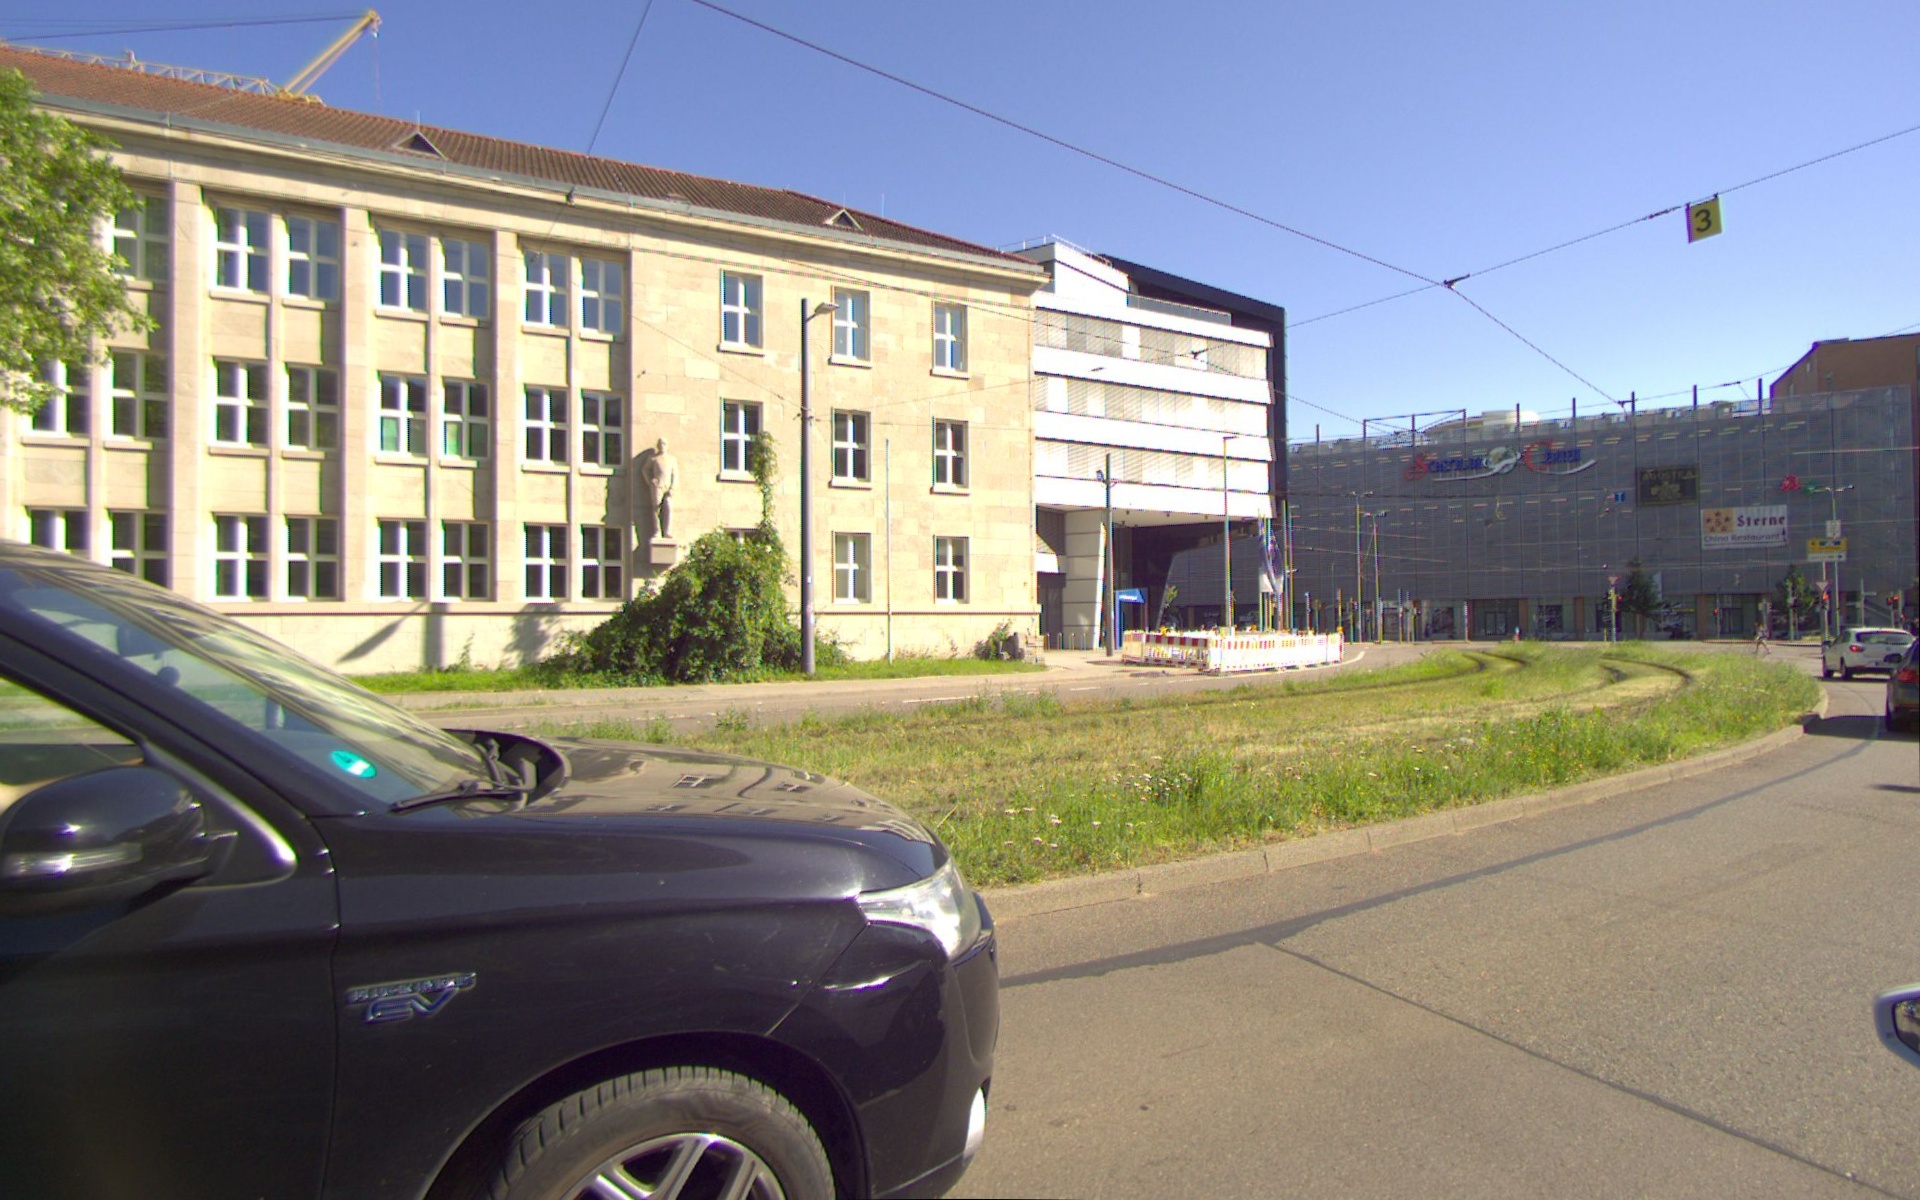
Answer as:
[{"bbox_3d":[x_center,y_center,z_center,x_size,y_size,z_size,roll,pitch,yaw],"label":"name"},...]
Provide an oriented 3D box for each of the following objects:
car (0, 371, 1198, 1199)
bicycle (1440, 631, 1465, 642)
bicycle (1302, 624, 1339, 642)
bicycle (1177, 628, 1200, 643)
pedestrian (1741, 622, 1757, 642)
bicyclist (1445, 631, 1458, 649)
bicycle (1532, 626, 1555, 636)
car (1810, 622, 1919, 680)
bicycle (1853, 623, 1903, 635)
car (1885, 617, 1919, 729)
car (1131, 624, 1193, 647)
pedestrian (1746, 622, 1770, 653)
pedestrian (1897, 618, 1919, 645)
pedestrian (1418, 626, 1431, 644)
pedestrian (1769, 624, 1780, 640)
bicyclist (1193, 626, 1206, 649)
[{"bbox_3d":[-1.936,0.584,1.916,4.583,1.704,1.830,1,-2,-27],"label":"car"},{"bbox_3d":[51.614,3.822,105.242,2.207,1.084,1.043,0,-2,-14],"label":"bicycle"},{"bbox_3d":[42.551,3.894,118.601,3.926,2.040,1.328,-1,-1,27],"label":"bicycle"},{"bbox_3d":[17.182,2.672,75.543,1.550,1.121,0.734,-1,-2,21],"label":"bicycle"},{"bbox_3d":[70.427,2.881,89.663,0.839,1.760,0.754,-2,-2,20],"label":"pedestrian"},{"bbox_3d":[51.536,4.177,105.273,0.831,1.826,0.814,0,-2,-15],"label":"bicyclist"},{"bbox_3d":[62.088,3.281,106.895,1.995,1.073,1.144,-2,-2,26],"label":"bicycle"},{"bbox_3d":[24.971,1.386,27.796,1.609,1.442,3.774,1,-1,32],"label":"car"},{"bbox_3d":[86.629,2.712,94.796,3.314,1.091,1.114,-1,-2,33],"label":"bicycle"},{"bbox_3d":[14.414,1.034,14.245,4.439,1.442,1.716,3,-2,-45],"label":"car"},{"bbox_3d":[15.897,2.775,78.923,4.420,1.656,1.837,-2,-1,26],"label":"car"},{"bbox_3d":[44.965,2.097,56.604,0.872,1.730,0.712,-2,-2,26],"label":"pedestrian"},{"bbox_3d":[61.238,2.040,64.852,0.794,1.731,0.761,-2,-2,26],"label":"pedestrian"},{"bbox_3d":[49.389,3.691,106.849,0.808,1.893,0.902,0,-2,-21],"label":"pedestrian"},{"bbox_3d":[77.876,3.061,96.053,0.580,1.555,0.657,-2,-2,26],"label":"pedestrian"},{"bbox_3d":[17.950,2.825,75.246,0.770,1.670,0.690,-2,-2,24],"label":"bicyclist"}]
